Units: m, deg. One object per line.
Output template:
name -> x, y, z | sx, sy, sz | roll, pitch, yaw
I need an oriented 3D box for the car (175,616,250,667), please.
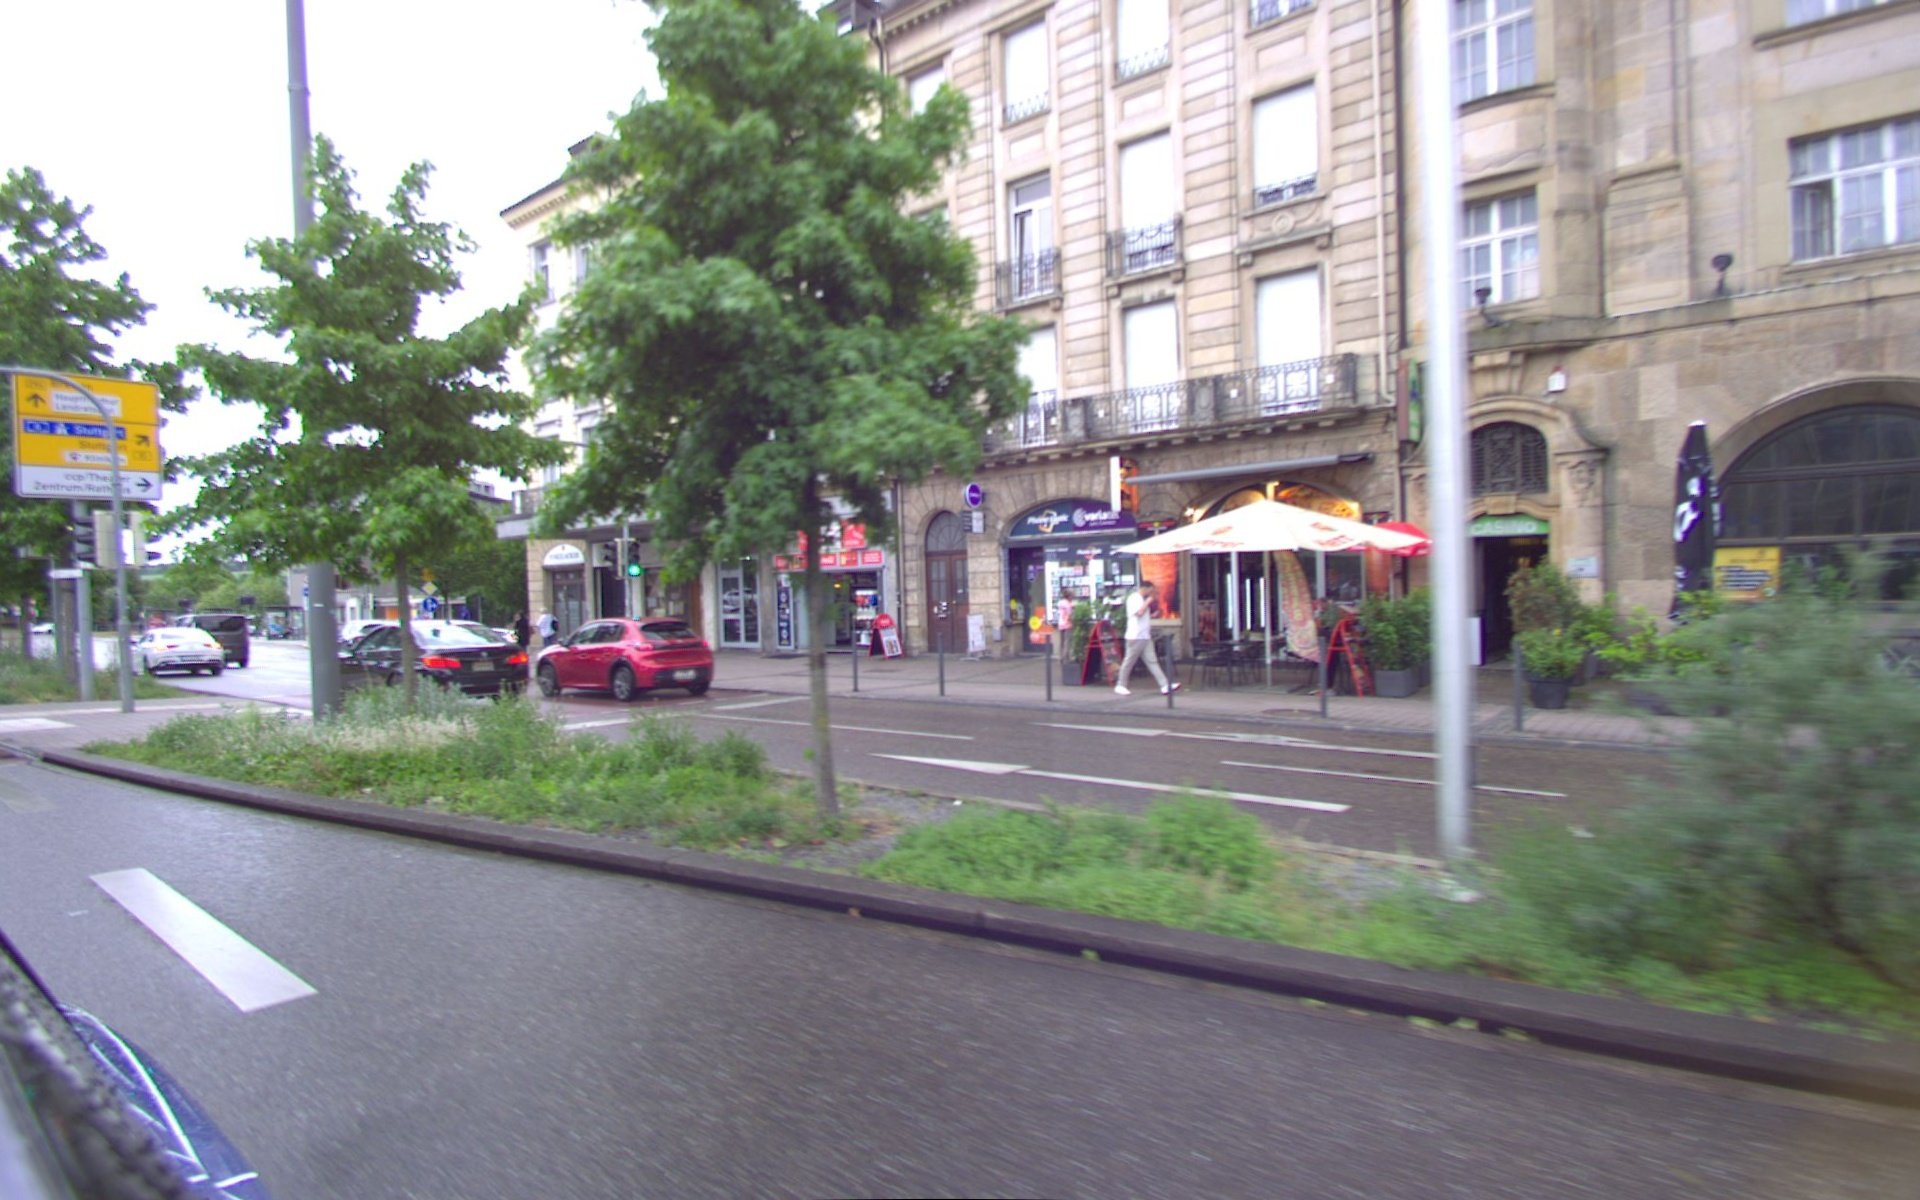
car -> -27.958, 1.502, 37.816 | 1.790, 1.763, 3.814 | 0, -1, -44

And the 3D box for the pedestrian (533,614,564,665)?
pedestrian -> -13.186, 1.253, 32.404 | 0.777, 1.550, 0.748 | -2, 0, -31

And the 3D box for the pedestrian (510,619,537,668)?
pedestrian -> -13.796, 1.347, 31.956 | 0.633, 1.499, 0.748 | -2, 0, -31

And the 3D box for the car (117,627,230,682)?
car -> -23.430, 1.554, 30.082 | 4.370, 1.475, 1.823 | -1, -1, 40

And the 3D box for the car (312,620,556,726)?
car -> -8.794, 1.090, 16.700 | 5.027, 1.475, 1.823 | -1, -1, 41

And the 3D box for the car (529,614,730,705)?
car -> -6.083, 1.006, 18.446 | 3.912, 1.456, 1.661 | -1, 0, 39

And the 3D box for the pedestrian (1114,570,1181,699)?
pedestrian -> 2.886, 0.513, 15.586 | 0.765, 1.924, 0.670 | -1, -1, 41

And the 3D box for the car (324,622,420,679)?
car -> -17.394, 1.430, 29.868 | 1.741, 1.519, 3.848 | 0, -1, -42

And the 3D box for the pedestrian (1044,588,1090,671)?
pedestrian -> 2.228, 0.590, 21.021 | 0.677, 1.683, 0.756 | 0, 0, 34
